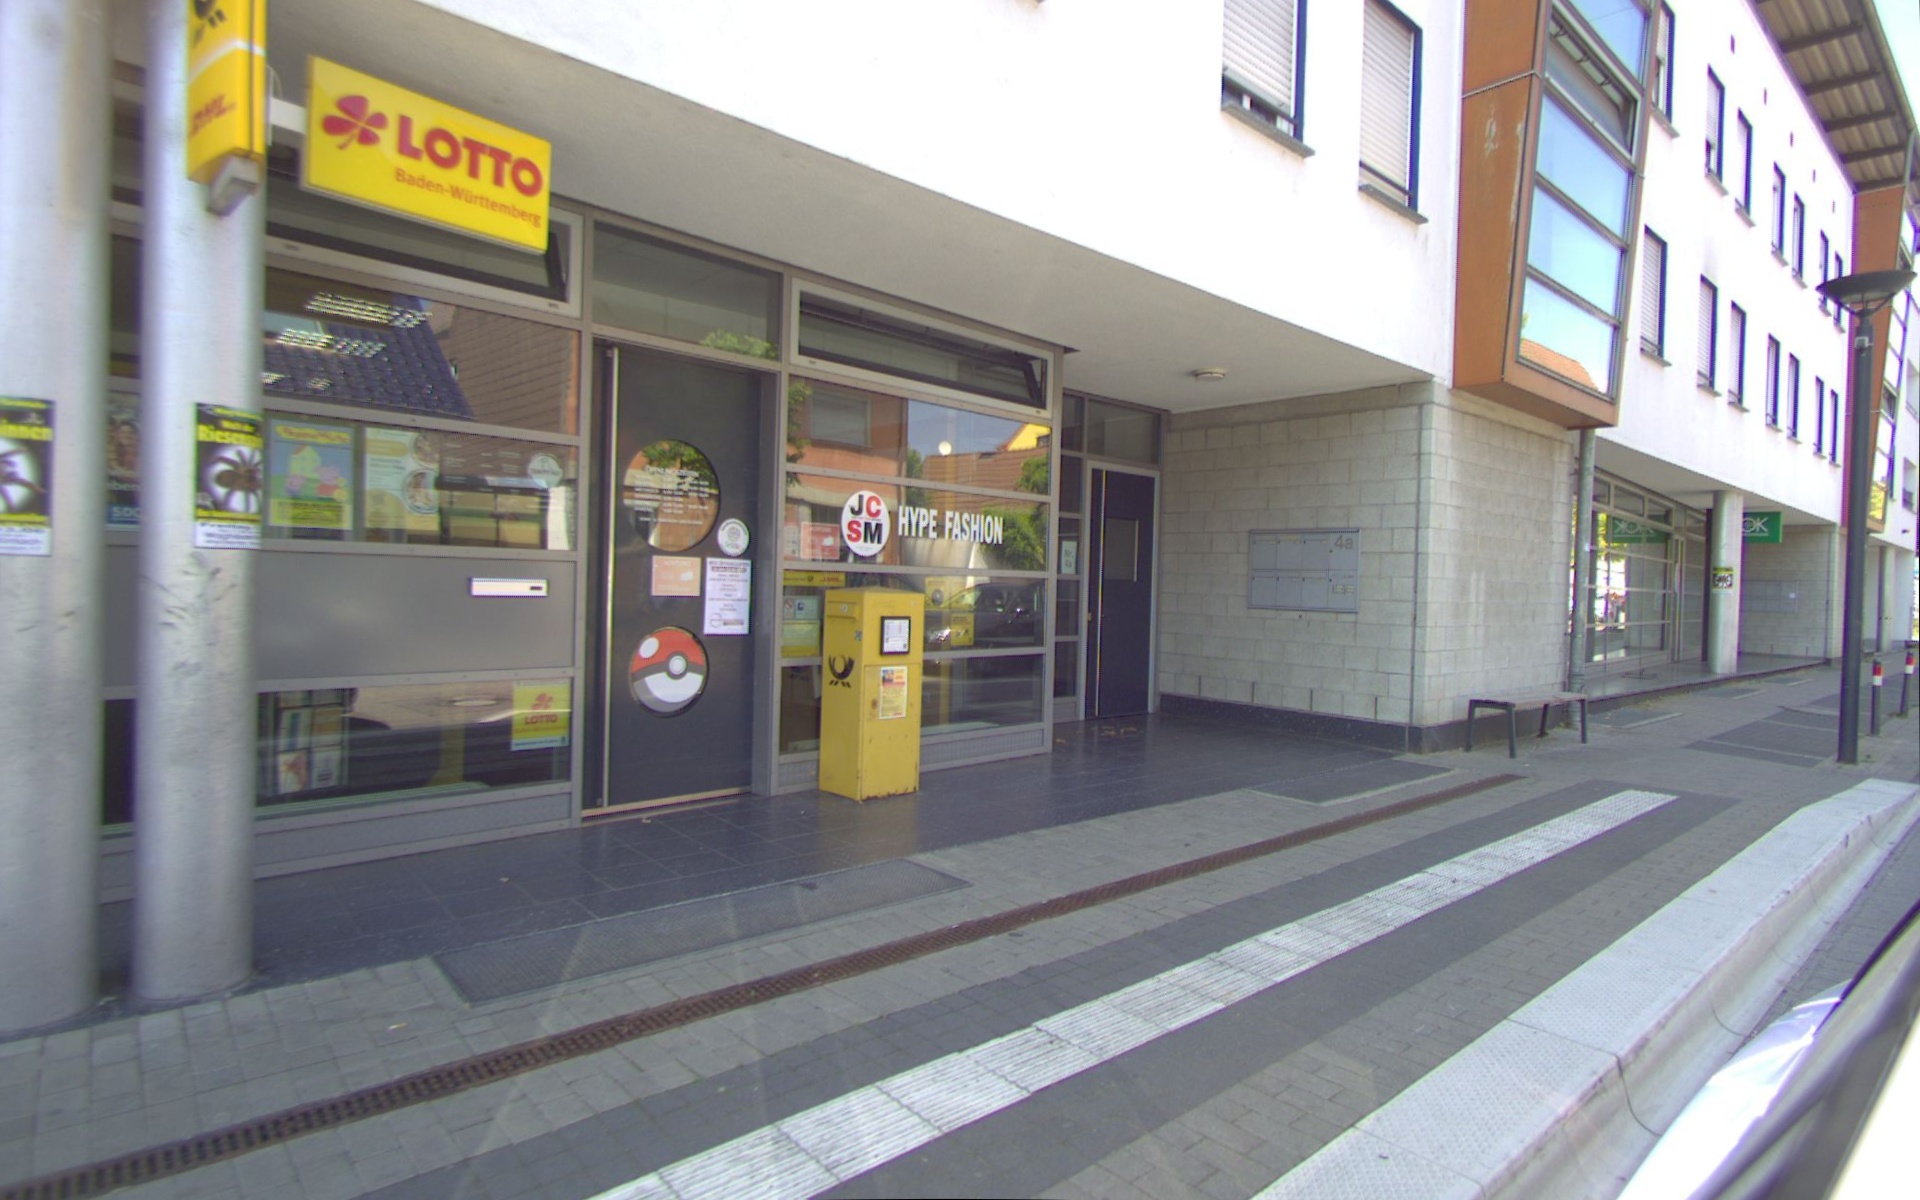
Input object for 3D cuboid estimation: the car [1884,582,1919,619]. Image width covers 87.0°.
[{"bbox_3d":[50.790,0.066,52.341,1.965,1.882,4.201,0,2,-41],"label":"car"}]
